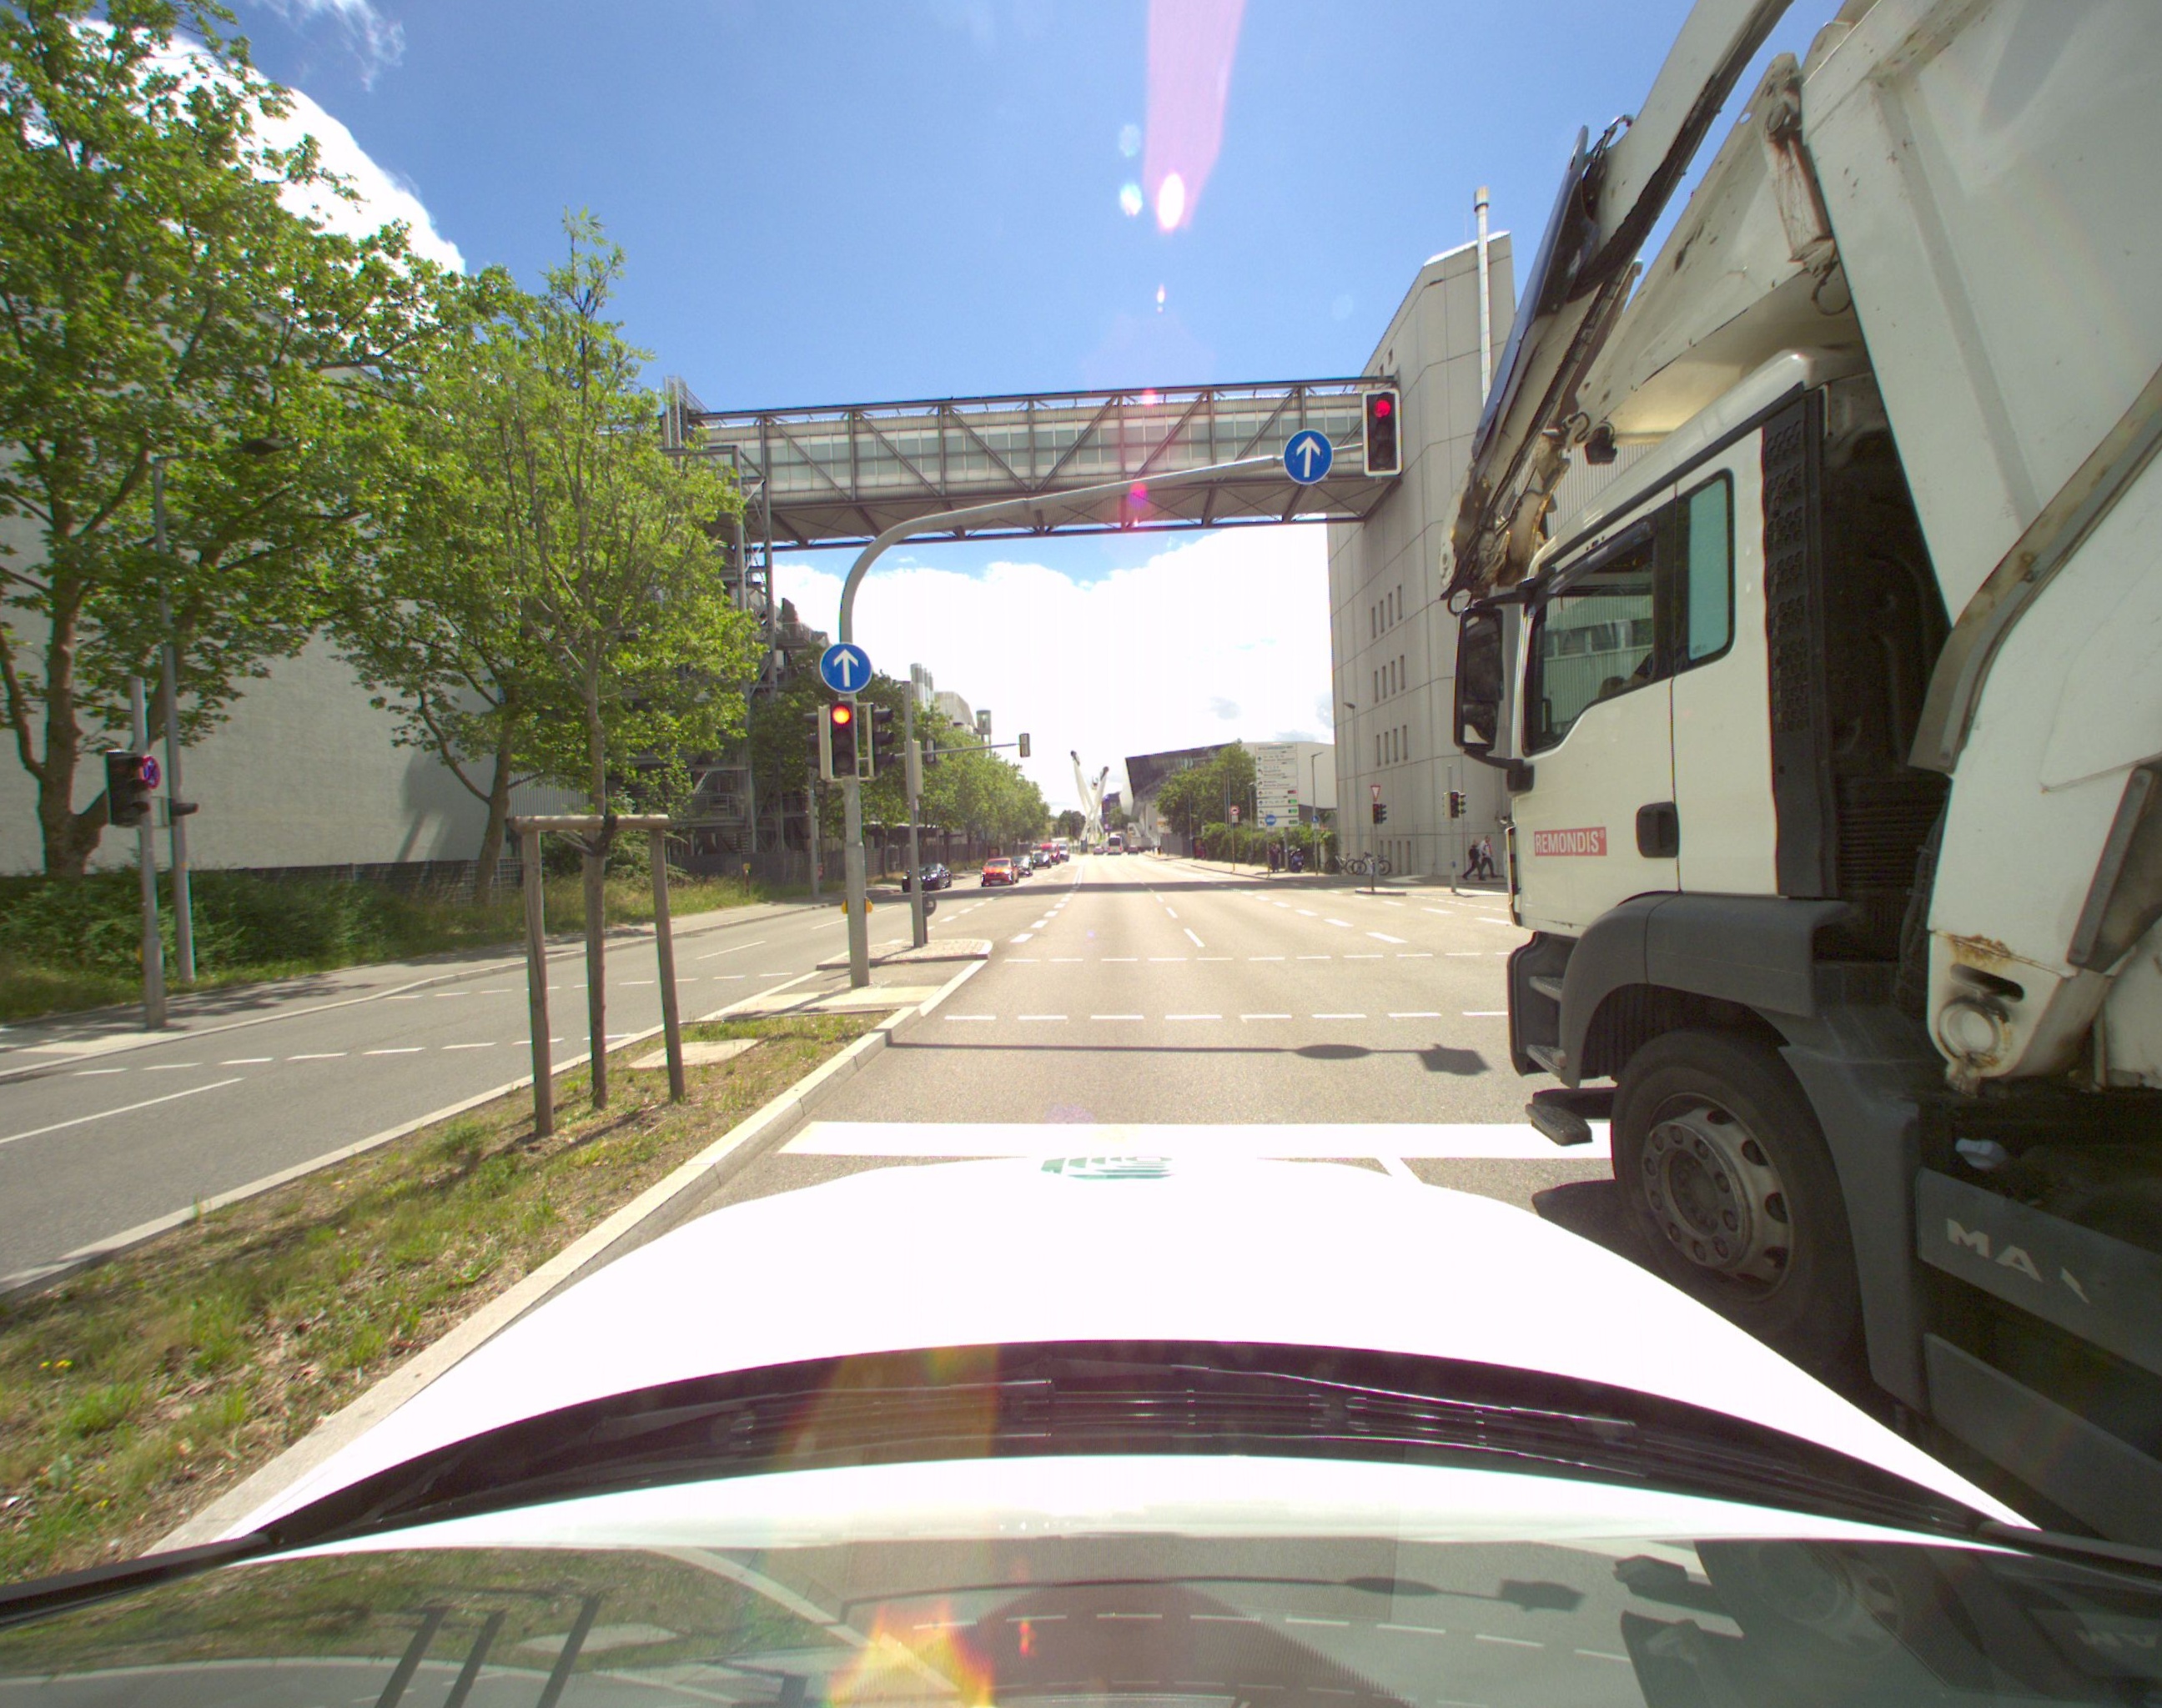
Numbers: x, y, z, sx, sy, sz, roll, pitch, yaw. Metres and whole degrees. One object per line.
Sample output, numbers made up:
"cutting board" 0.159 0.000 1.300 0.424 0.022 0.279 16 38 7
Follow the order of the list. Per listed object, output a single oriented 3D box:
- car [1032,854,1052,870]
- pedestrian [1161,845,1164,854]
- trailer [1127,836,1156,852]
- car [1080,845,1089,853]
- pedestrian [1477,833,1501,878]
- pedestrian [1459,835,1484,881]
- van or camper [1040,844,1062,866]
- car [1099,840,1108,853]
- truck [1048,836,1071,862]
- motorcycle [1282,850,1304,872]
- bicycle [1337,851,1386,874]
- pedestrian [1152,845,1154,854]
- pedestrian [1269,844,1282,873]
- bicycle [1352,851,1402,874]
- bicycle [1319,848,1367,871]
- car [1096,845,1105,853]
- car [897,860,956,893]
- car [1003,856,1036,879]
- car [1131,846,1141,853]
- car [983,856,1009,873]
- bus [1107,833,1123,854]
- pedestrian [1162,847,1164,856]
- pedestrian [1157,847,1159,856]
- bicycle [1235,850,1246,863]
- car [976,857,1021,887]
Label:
"car" -3.746 0.753 78.835 1.551 1.448 3.775 -4 0 3
"pedestrian" 13.488 -0.743 135.078 0.384 1.421 0.424 0 -1 2
"trailer" 12.866 -2.051 172.116 3.291 2.995 10.429 -1 -1 21
"car" 0.624 -0.946 156.120 1.551 1.273 3.704 -4 0 3
"pedestrian" 16.670 0.059 33.251 0.703 1.793 0.698 -4 0 30
"pedestrian" 15.649 0.161 32.621 0.704 1.793 0.646 -4 0 18
"van or camper" -3.448 0.069 94.540 2.038 2.466 5.598 -1 0 3
"car" 4.822 -1.581 171.230 1.836 2.624 4.002 0 -1 2
"truck" -2.789 -0.652 107.076 2.581 3.324 7.083 0 -1 3
"motorcycle" 11.650 0.403 44.888 0.418 1.166 1.951 0 -1 -9
"bicycle" 13.596 0.407 39.459 2.196 1.086 0.480 -1 -1 37
"pedestrian" 11.946 -0.707 135.404 0.384 1.421 0.424 0 -1 2
"pedestrian" 10.913 0.266 45.785 0.532 1.640 0.657 0 -1 -4
"bicycle" 13.981 0.397 38.511 2.166 1.086 0.480 -1 -1 37
"bicycle" 13.083 0.284 40.697 2.196 1.086 0.480 -1 -1 37
"car" 3.552 -0.924 148.871 1.551 1.273 3.704 -4 0 3
"car" -8.109 1.133 43.276 1.910 1.488 4.775 -4 0 3
"car" -4.300 0.919 57.067 1.762 1.420 3.704 -4 0 3
"car" 9.883 -0.823 146.188 1.551 1.273 3.704 -4 0 3
"car" -7.744 0.930 74.298 1.720 1.382 3.704 -4 0 3
"bus" 6.286 -1.917 150.236 2.776 3.686 6.947 0 -1 3
"pedestrian" 13.306 -0.389 132.164 0.384 1.421 0.424 0 -1 2
"pedestrian" 12.473 -0.443 132.145 0.384 1.421 0.424 0 -1 2
"bicycle" 12.728 0.183 65.123 0.417 1.022 1.911 0 -1 -2
"car" -4.410 0.933 44.046 1.762 1.420 3.704 -4 0 3
